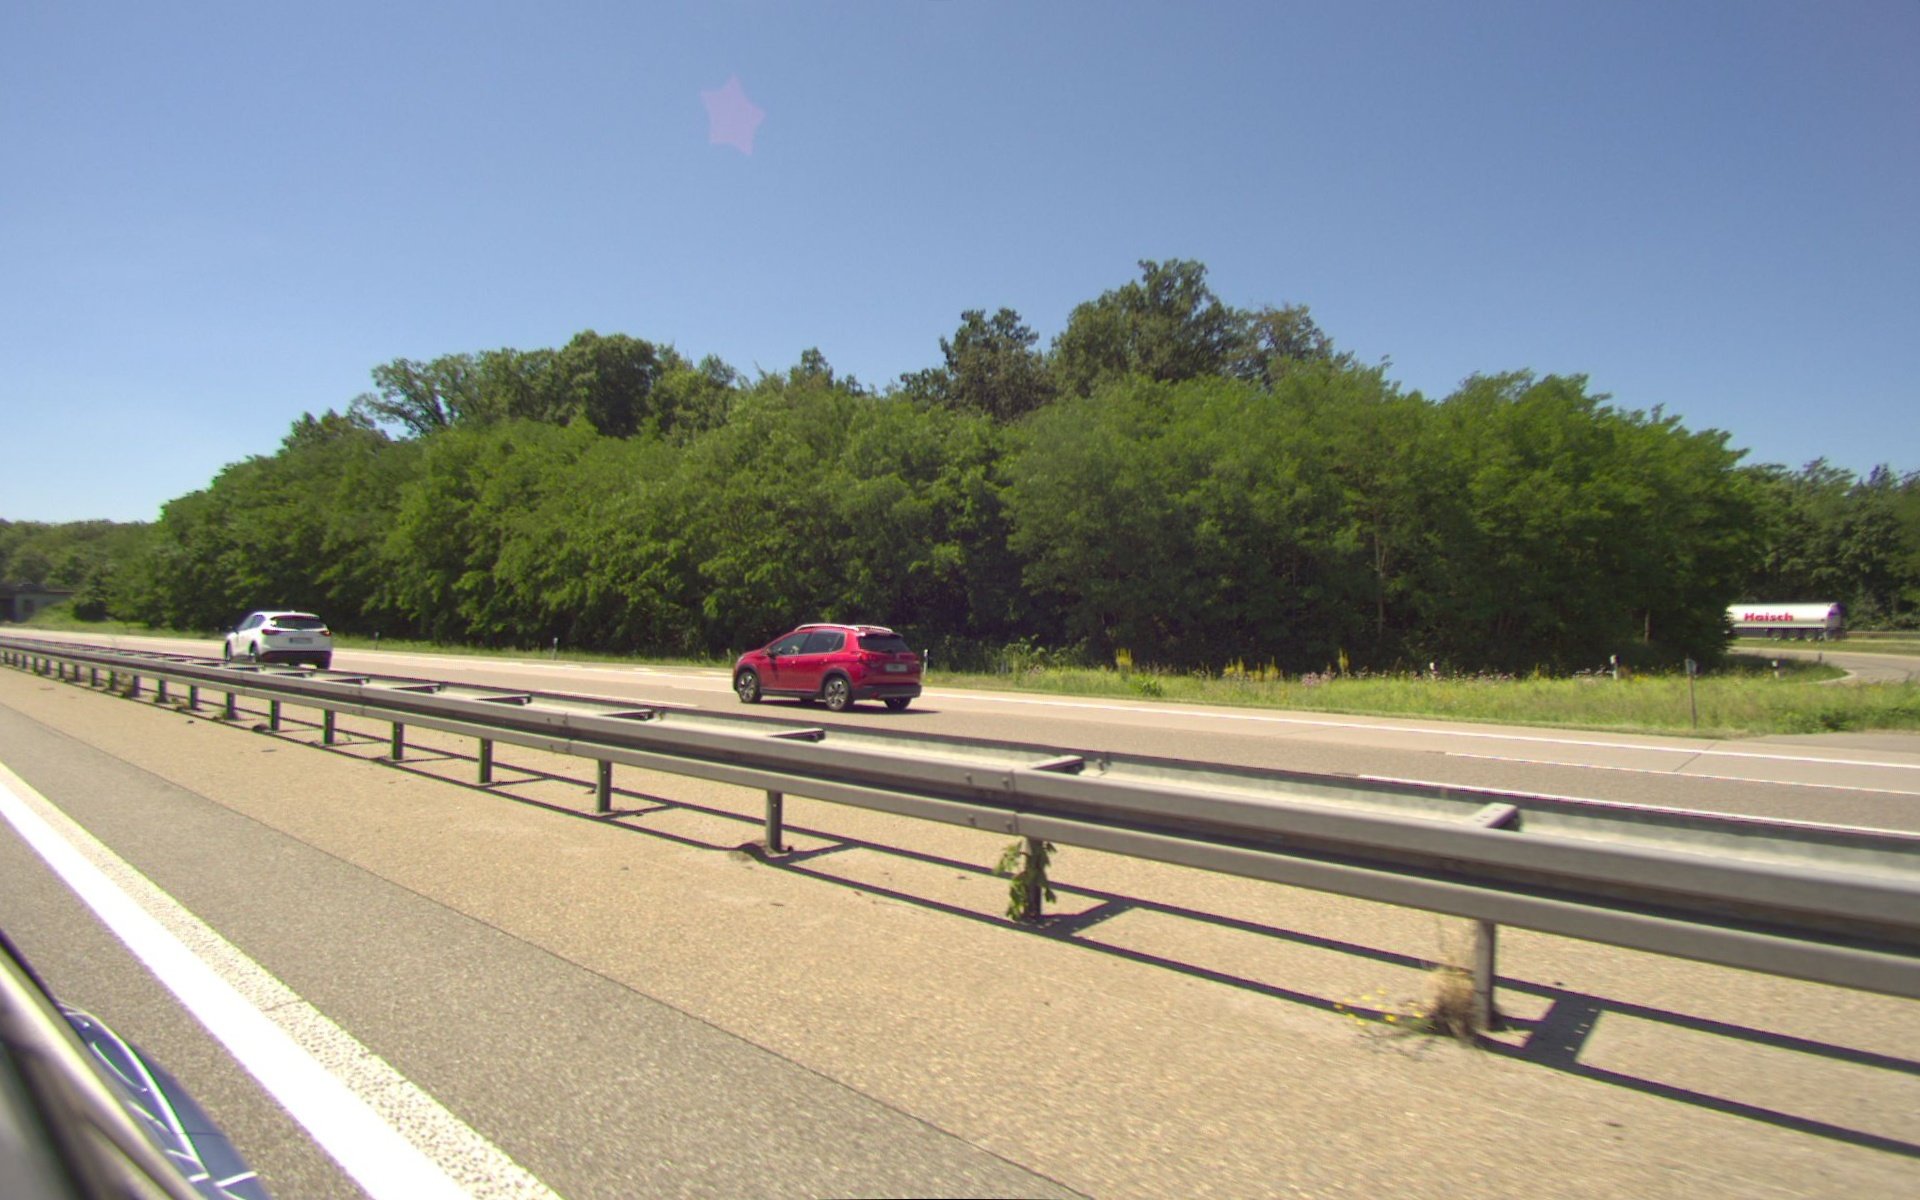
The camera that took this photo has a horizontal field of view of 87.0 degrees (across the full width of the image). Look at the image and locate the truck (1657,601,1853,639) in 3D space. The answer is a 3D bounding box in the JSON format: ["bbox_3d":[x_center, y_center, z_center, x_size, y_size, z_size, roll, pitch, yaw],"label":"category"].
[{"bbox_3d":[74.885,1.842,96.063,2.661,3.307,14.828,-1,0,-27],"label":"truck"}]

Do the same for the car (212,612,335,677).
[{"bbox_3d":[-19.749,1.231,29.021,4.816,1.705,1.744,-1,-2,41],"label":"car"}]

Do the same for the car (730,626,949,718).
[{"bbox_3d":[-2.311,1.268,18.804,4.073,1.506,1.744,-1,-3,41],"label":"car"}]

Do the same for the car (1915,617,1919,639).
[{"bbox_3d":[81.280,2.335,82.896,1.756,1.829,4.013,-1,0,-22],"label":"car"}]
